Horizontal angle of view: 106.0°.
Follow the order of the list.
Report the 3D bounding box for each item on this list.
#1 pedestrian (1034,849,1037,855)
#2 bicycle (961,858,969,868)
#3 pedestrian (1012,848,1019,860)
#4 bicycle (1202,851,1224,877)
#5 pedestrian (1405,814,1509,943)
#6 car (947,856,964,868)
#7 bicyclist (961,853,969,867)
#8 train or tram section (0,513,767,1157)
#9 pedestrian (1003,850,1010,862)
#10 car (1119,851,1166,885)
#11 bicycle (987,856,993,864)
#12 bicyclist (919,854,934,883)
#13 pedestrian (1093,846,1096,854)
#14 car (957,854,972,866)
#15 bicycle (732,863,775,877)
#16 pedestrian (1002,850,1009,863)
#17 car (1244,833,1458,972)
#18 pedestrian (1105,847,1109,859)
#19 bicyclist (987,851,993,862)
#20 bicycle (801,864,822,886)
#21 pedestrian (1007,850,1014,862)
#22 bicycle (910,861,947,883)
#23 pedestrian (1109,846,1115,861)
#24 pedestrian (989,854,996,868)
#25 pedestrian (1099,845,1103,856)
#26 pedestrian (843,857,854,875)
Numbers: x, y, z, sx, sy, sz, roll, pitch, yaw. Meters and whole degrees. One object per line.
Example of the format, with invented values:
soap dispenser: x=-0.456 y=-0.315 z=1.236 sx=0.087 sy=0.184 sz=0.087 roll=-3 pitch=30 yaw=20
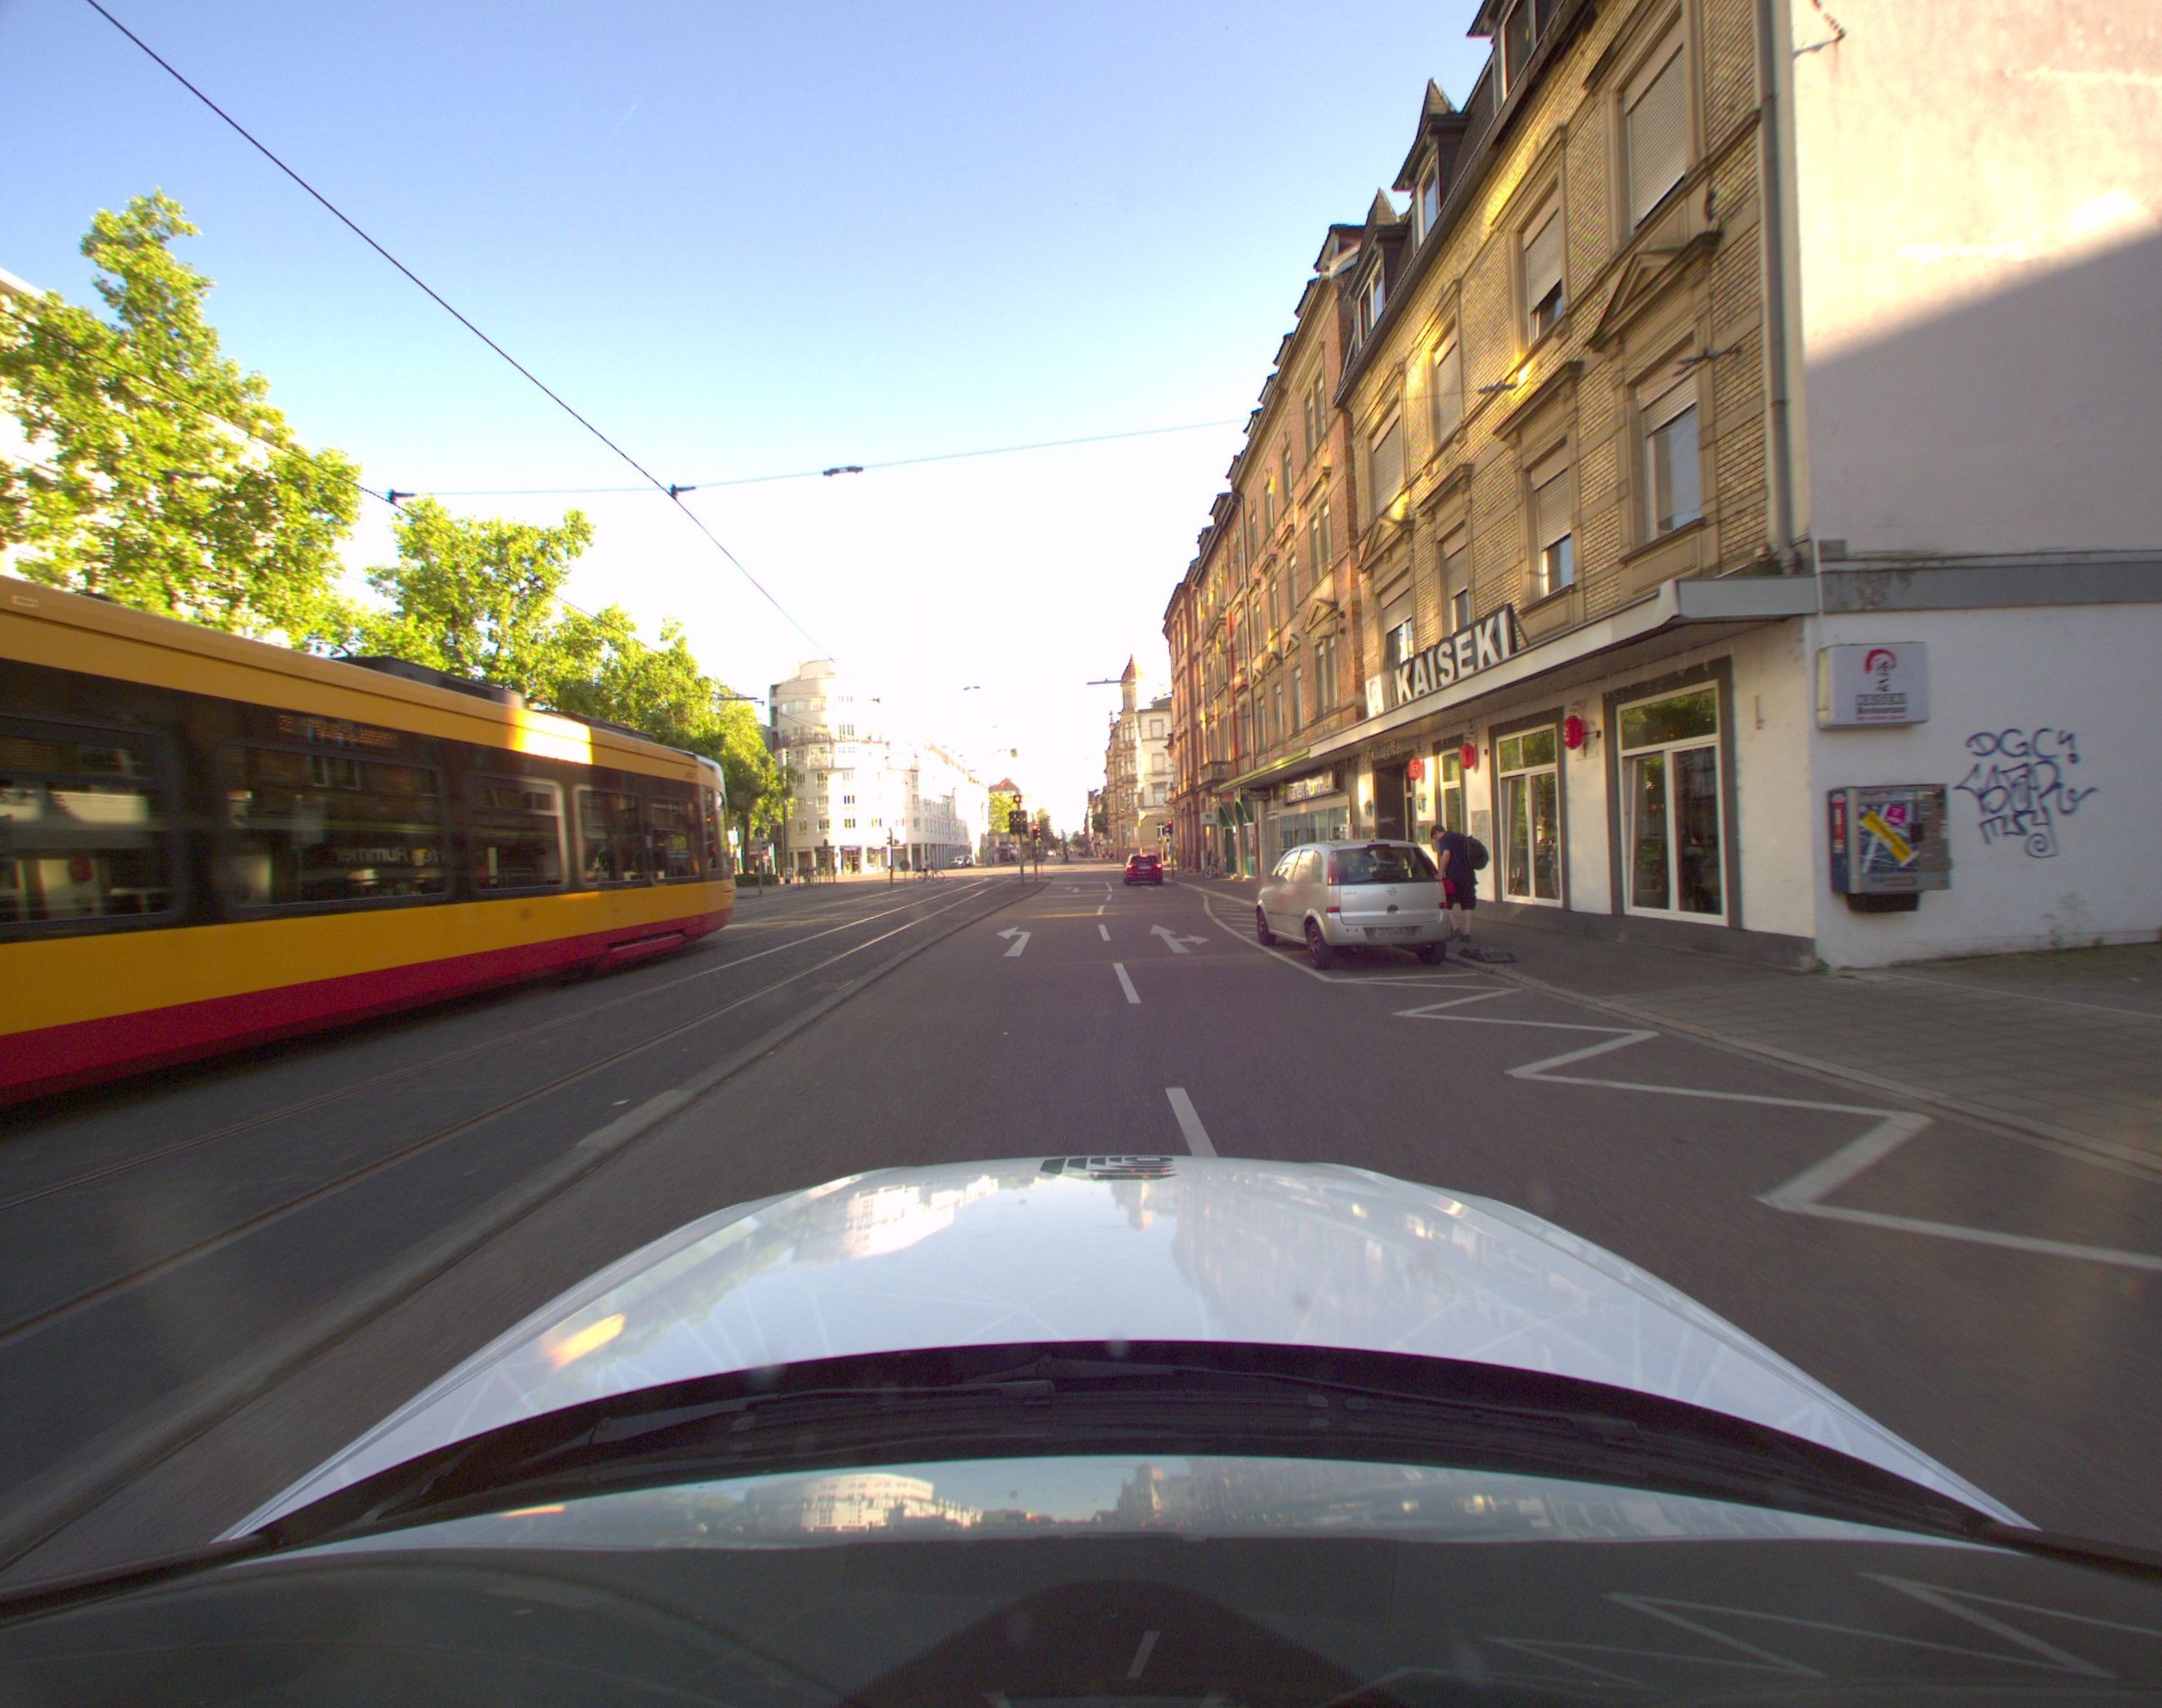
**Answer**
pedestrian: x=-12.938 y=-0.476 z=229.822 sx=0.630 sy=1.604 sz=0.576 roll=-3 pitch=0 yaw=-17
bicycle: x=-15.283 y=1.189 z=107.234 sx=0.805 sy=1.147 sz=2.049 roll=-3 pitch=0 yaw=-1
pedestrian: x=-10.995 y=-0.049 z=136.162 sx=1.043 sy=2.013 sz=0.958 roll=-3 pitch=0 yaw=-3
bicycle: x=6.425 y=0.483 z=39.643 sx=0.710 sy=1.152 sz=1.663 roll=-4 pitch=0 yaw=18
pedestrian: x=5.594 y=0.352 z=12.184 sx=0.944 sy=1.792 sz=1.054 roll=-4 pitch=0 yaw=-2
car: x=-17.369 y=1.064 z=112.861 sx=1.759 sy=1.546 sz=3.461 roll=-3 pitch=0 yaw=0
bicyclist: x=-15.302 y=0.776 z=107.323 sx=0.805 sy=1.726 sz=0.794 roll=-3 pitch=0 yaw=0
train or tram section: x=-7.357 y=-0.057 z=9.192 sx=2.668 sy=3.550 sz=12.835 roll=-3 pitch=0 yaw=-1
pedestrian: x=-12.571 y=0.279 z=137.766 sx=1.043 sy=2.013 sz=0.958 roll=-3 pitch=0 yaw=-3
car: x=2.848 y=0.624 z=38.295 sx=1.750 sy=1.466 sz=3.942 roll=-1 pitch=0 yaw=-2
bicycle: x=-15.108 y=1.007 z=135.450 sx=0.805 sy=1.147 sz=2.010 roll=-3 pitch=0 yaw=0
bicyclist: x=-8.840 y=0.829 z=46.586 sx=0.729 sy=1.627 sz=0.763 roll=-2 pitch=0 yaw=-9
pedestrian: x=3.325 y=-0.932 z=194.906 sx=0.575 sy=2.013 sz=0.631 roll=-2 pitch=0 yaw=0
car: x=-17.259 y=0.904 z=121.194 sx=1.696 sy=1.718 sz=3.563 roll=-3 pitch=0 yaw=-1
bicycle: x=-39.768 y=1.951 z=98.872 sx=4.684 sy=1.530 sz=1.067 roll=-3 pitch=0 yaw=2
pedestrian: x=-12.329 y=0.410 z=133.341 sx=0.953 sy=2.013 sz=1.048 roll=-3 pitch=0 yaw=-1
car: x=3.656 y=0.576 z=11.783 sx=1.633 sy=1.615 sz=3.942 roll=-2 pitch=0 yaw=-2
pedestrian: x=4.402 y=-0.237 z=139.426 sx=0.644 sy=2.013 sz=0.683 roll=-2 pitch=0 yaw=-1
bicyclist: x=-15.134 y=0.463 z=135.273 sx=0.805 sy=1.821 sz=0.993 roll=-3 pitch=0 yaw=-1
bicycle: x=-17.109 y=1.349 z=51.708 sx=0.668 sy=1.327 sz=1.907 roll=0 pitch=0 yaw=2
pedestrian: x=-12.002 y=0.313 z=139.409 sx=1.043 sy=2.013 sz=0.958 roll=-3 pitch=0 yaw=-3
bicycle: x=-8.786 y=1.059 z=46.974 sx=2.017 sy=1.177 sz=0.626 roll=-2 pitch=0 yaw=-9
pedestrian: x=4.167 y=-0.113 z=110.544 sx=0.649 sy=2.013 sz=0.759 roll=-2 pitch=0 yaw=-1
pedestrian: x=-11.488 y=0.869 z=105.471 sx=0.765 sy=1.730 sz=0.573 roll=-2 pitch=0 yaw=1
pedestrian: x=3.722 y=-0.639 z=152.394 sx=0.574 sy=2.013 sz=0.632 roll=-2 pitch=0 yaw=5
pedestrian: x=-26.574 y=1.403 z=92.968 sx=0.949 sy=2.013 sz=0.932 roll=-3 pitch=0 yaw=-28
